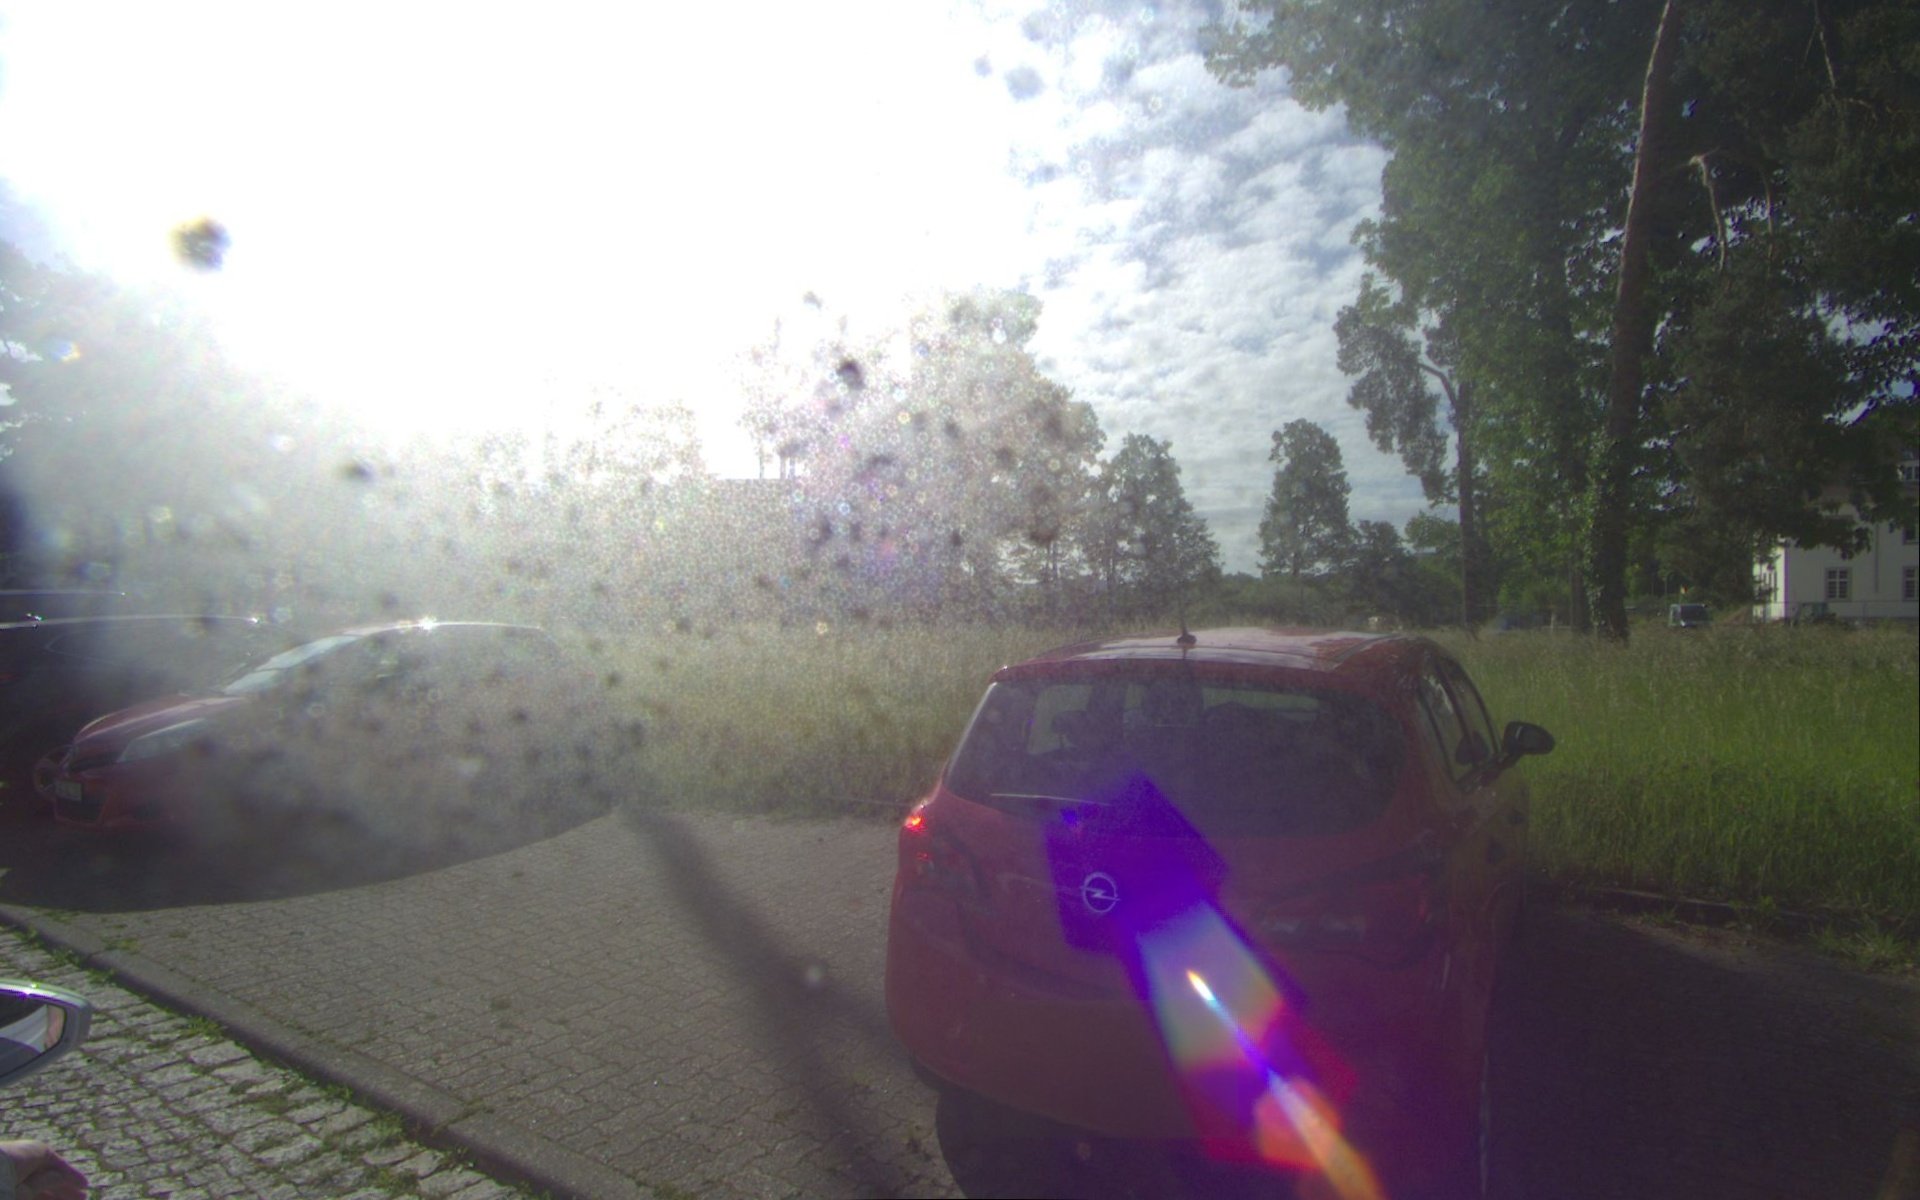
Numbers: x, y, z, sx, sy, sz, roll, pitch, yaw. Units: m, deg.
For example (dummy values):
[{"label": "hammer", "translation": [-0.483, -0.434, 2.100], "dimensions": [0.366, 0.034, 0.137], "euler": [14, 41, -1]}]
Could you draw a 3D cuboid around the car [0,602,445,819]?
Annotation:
[{"label": "car", "translation": [-7.210, 0.858, 9.383], "dimensions": [1.746, 1.643, 3.929], "euler": [0, 0, 31]}]

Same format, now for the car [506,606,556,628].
[{"label": "car", "translation": [-40.675, 1.633, 94.978], "dimensions": [1.971, 2.040, 3.979], "euler": [0, 0, 32]}]

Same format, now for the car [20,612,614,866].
[{"label": "car", "translation": [-4.884, 0.872, 8.143], "dimensions": [1.622, 1.550, 3.755], "euler": [0, 0, 32]}]

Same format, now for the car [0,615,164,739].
[{"label": "car", "translation": [-12.637, 0.967, 12.640], "dimensions": [1.621, 1.508, 3.713], "euler": [0, 0, 30]}]

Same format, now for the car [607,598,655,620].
[{"label": "car", "translation": [-30.580, 0.833, 93.175], "dimensions": [1.971, 2.040, 3.979], "euler": [0, 0, 32]}]

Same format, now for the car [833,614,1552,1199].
[{"label": "car", "translation": [1.343, 0.837, 3.955], "dimensions": [1.622, 1.498, 3.819], "euler": [0, 0, 32]}]

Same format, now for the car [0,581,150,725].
[{"label": "car", "translation": [-14.766, 0.755, 14.212], "dimensions": [2.052, 2.040, 4.671], "euler": [0, 0, 29]}]

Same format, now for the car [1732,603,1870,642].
[{"label": "car", "translation": [50.823, 1.398, 60.655], "dimensions": [2.345, 2.199, 5.976], "euler": [0, -2, -35]}]

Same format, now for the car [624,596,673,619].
[{"label": "car", "translation": [-28.673, 0.714, 92.167], "dimensions": [1.971, 2.040, 3.979], "euler": [0, 0, 32]}]

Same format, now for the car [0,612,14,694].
[{"label": "car", "translation": [-18.949, 0.999, 17.147], "dimensions": [1.622, 1.485, 3.684], "euler": [0, 1, 33]}]
